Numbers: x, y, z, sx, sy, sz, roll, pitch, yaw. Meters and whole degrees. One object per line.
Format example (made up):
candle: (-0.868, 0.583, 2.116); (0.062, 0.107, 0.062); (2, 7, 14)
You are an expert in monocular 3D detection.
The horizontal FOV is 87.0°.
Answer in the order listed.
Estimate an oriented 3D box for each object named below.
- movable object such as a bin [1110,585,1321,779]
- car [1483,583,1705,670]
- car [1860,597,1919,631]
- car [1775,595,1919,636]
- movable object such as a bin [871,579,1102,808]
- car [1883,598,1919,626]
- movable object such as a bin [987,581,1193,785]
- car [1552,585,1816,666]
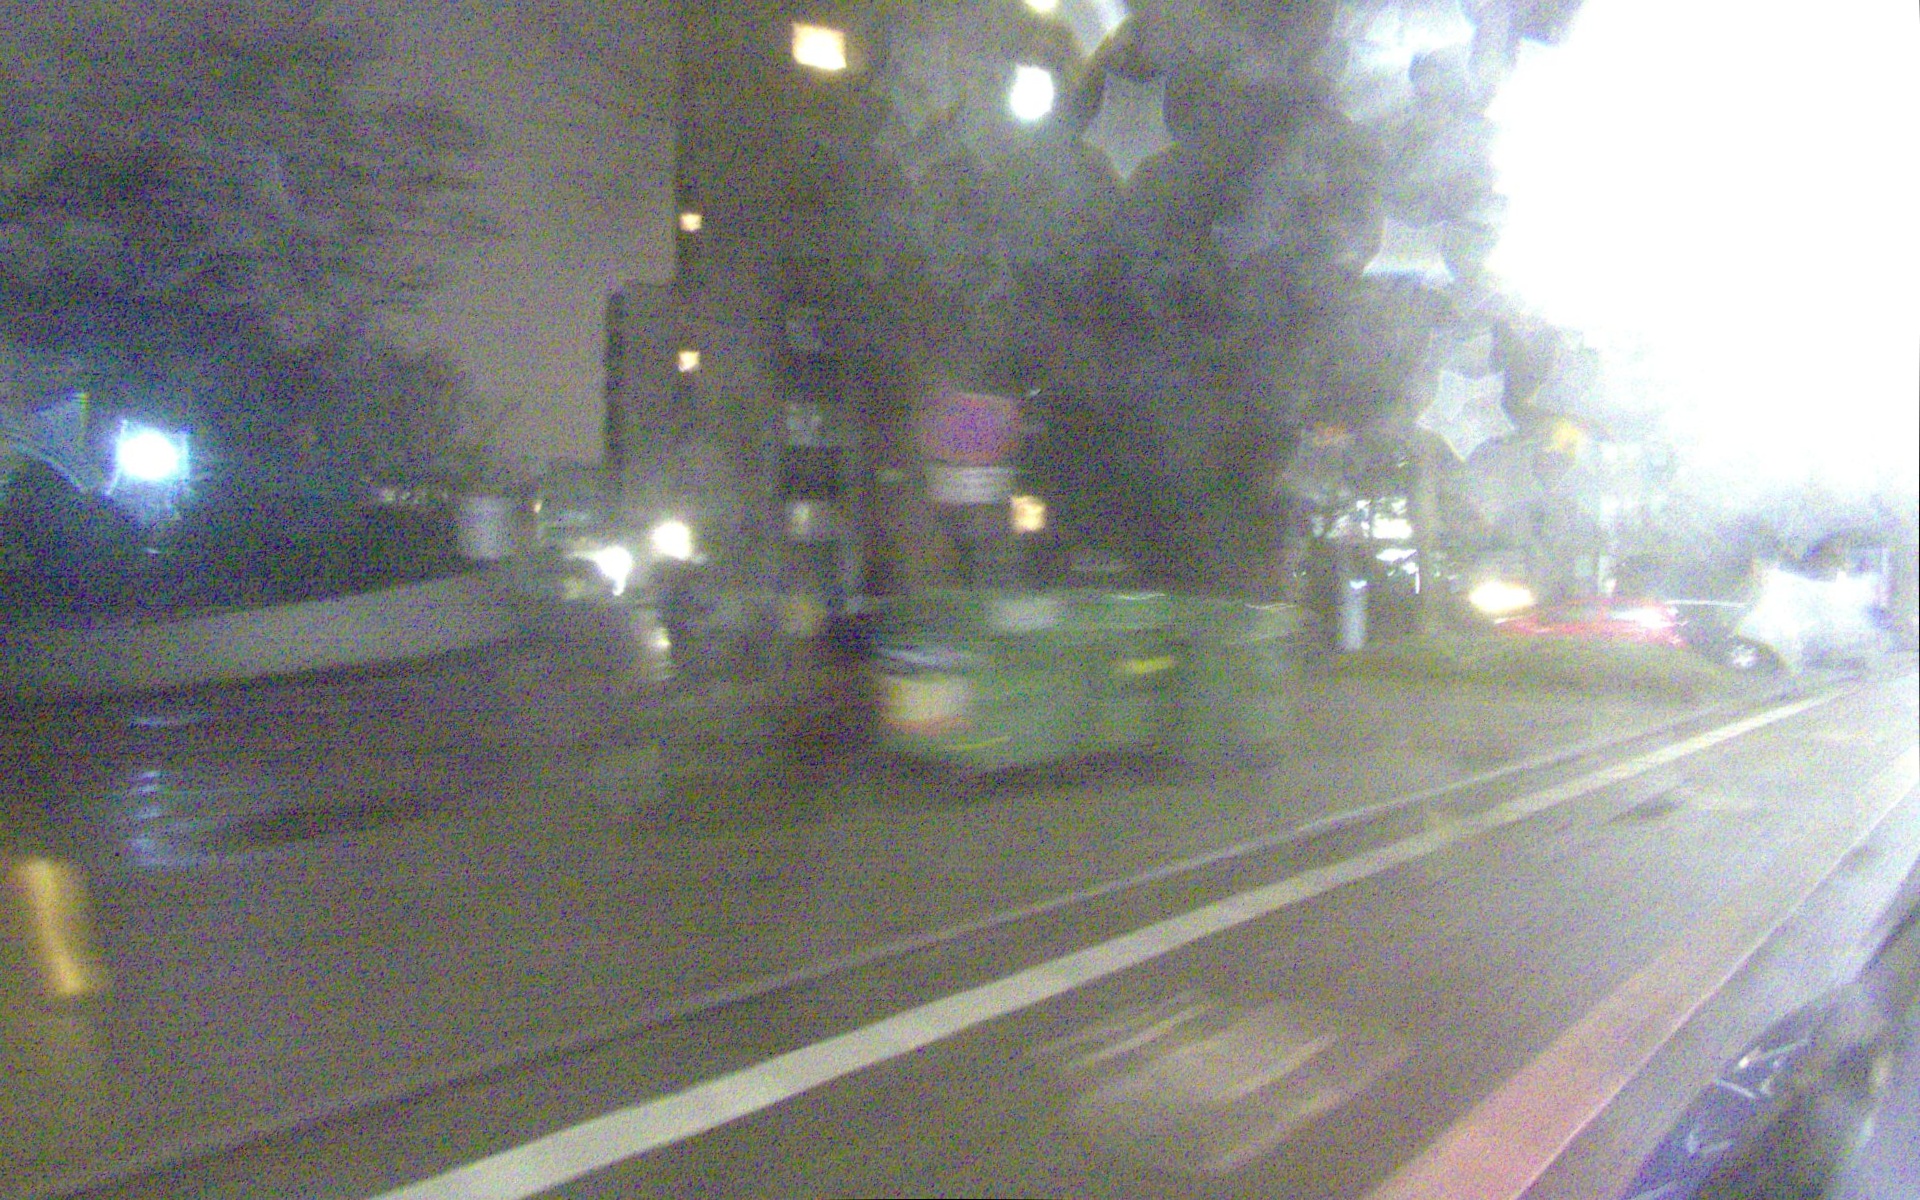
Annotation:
movable object such as a bin: (2.161, 0.615, 8.590); (1.322, 1.425, 1.141); (3, 3, 44)
car: (12.871, 0.475, 20.759); (3.676, 1.536, 1.640); (3, 2, 31)
car: (45.135, 0.637, 47.656); (3.835, 1.531, 1.711); (0, 1, 3)
car: (34.844, 0.596, 39.602); (4.273, 1.486, 1.676); (1, 1, 11)
movable object such as a bin: (0.163, 0.595, 7.417); (1.052, 1.440, 1.373); (0, 3, -35)
car: (54.121, 0.666, 56.227); (4.107, 1.501, 1.662); (0, -1, 1)
movable object such as a bin: (1.021, 0.590, 8.122); (1.080, 1.440, 1.212); (0, 3, -35)
car: (15.905, 0.491, 22.597); (4.562, 1.493, 1.821); (3, 2, 30)
